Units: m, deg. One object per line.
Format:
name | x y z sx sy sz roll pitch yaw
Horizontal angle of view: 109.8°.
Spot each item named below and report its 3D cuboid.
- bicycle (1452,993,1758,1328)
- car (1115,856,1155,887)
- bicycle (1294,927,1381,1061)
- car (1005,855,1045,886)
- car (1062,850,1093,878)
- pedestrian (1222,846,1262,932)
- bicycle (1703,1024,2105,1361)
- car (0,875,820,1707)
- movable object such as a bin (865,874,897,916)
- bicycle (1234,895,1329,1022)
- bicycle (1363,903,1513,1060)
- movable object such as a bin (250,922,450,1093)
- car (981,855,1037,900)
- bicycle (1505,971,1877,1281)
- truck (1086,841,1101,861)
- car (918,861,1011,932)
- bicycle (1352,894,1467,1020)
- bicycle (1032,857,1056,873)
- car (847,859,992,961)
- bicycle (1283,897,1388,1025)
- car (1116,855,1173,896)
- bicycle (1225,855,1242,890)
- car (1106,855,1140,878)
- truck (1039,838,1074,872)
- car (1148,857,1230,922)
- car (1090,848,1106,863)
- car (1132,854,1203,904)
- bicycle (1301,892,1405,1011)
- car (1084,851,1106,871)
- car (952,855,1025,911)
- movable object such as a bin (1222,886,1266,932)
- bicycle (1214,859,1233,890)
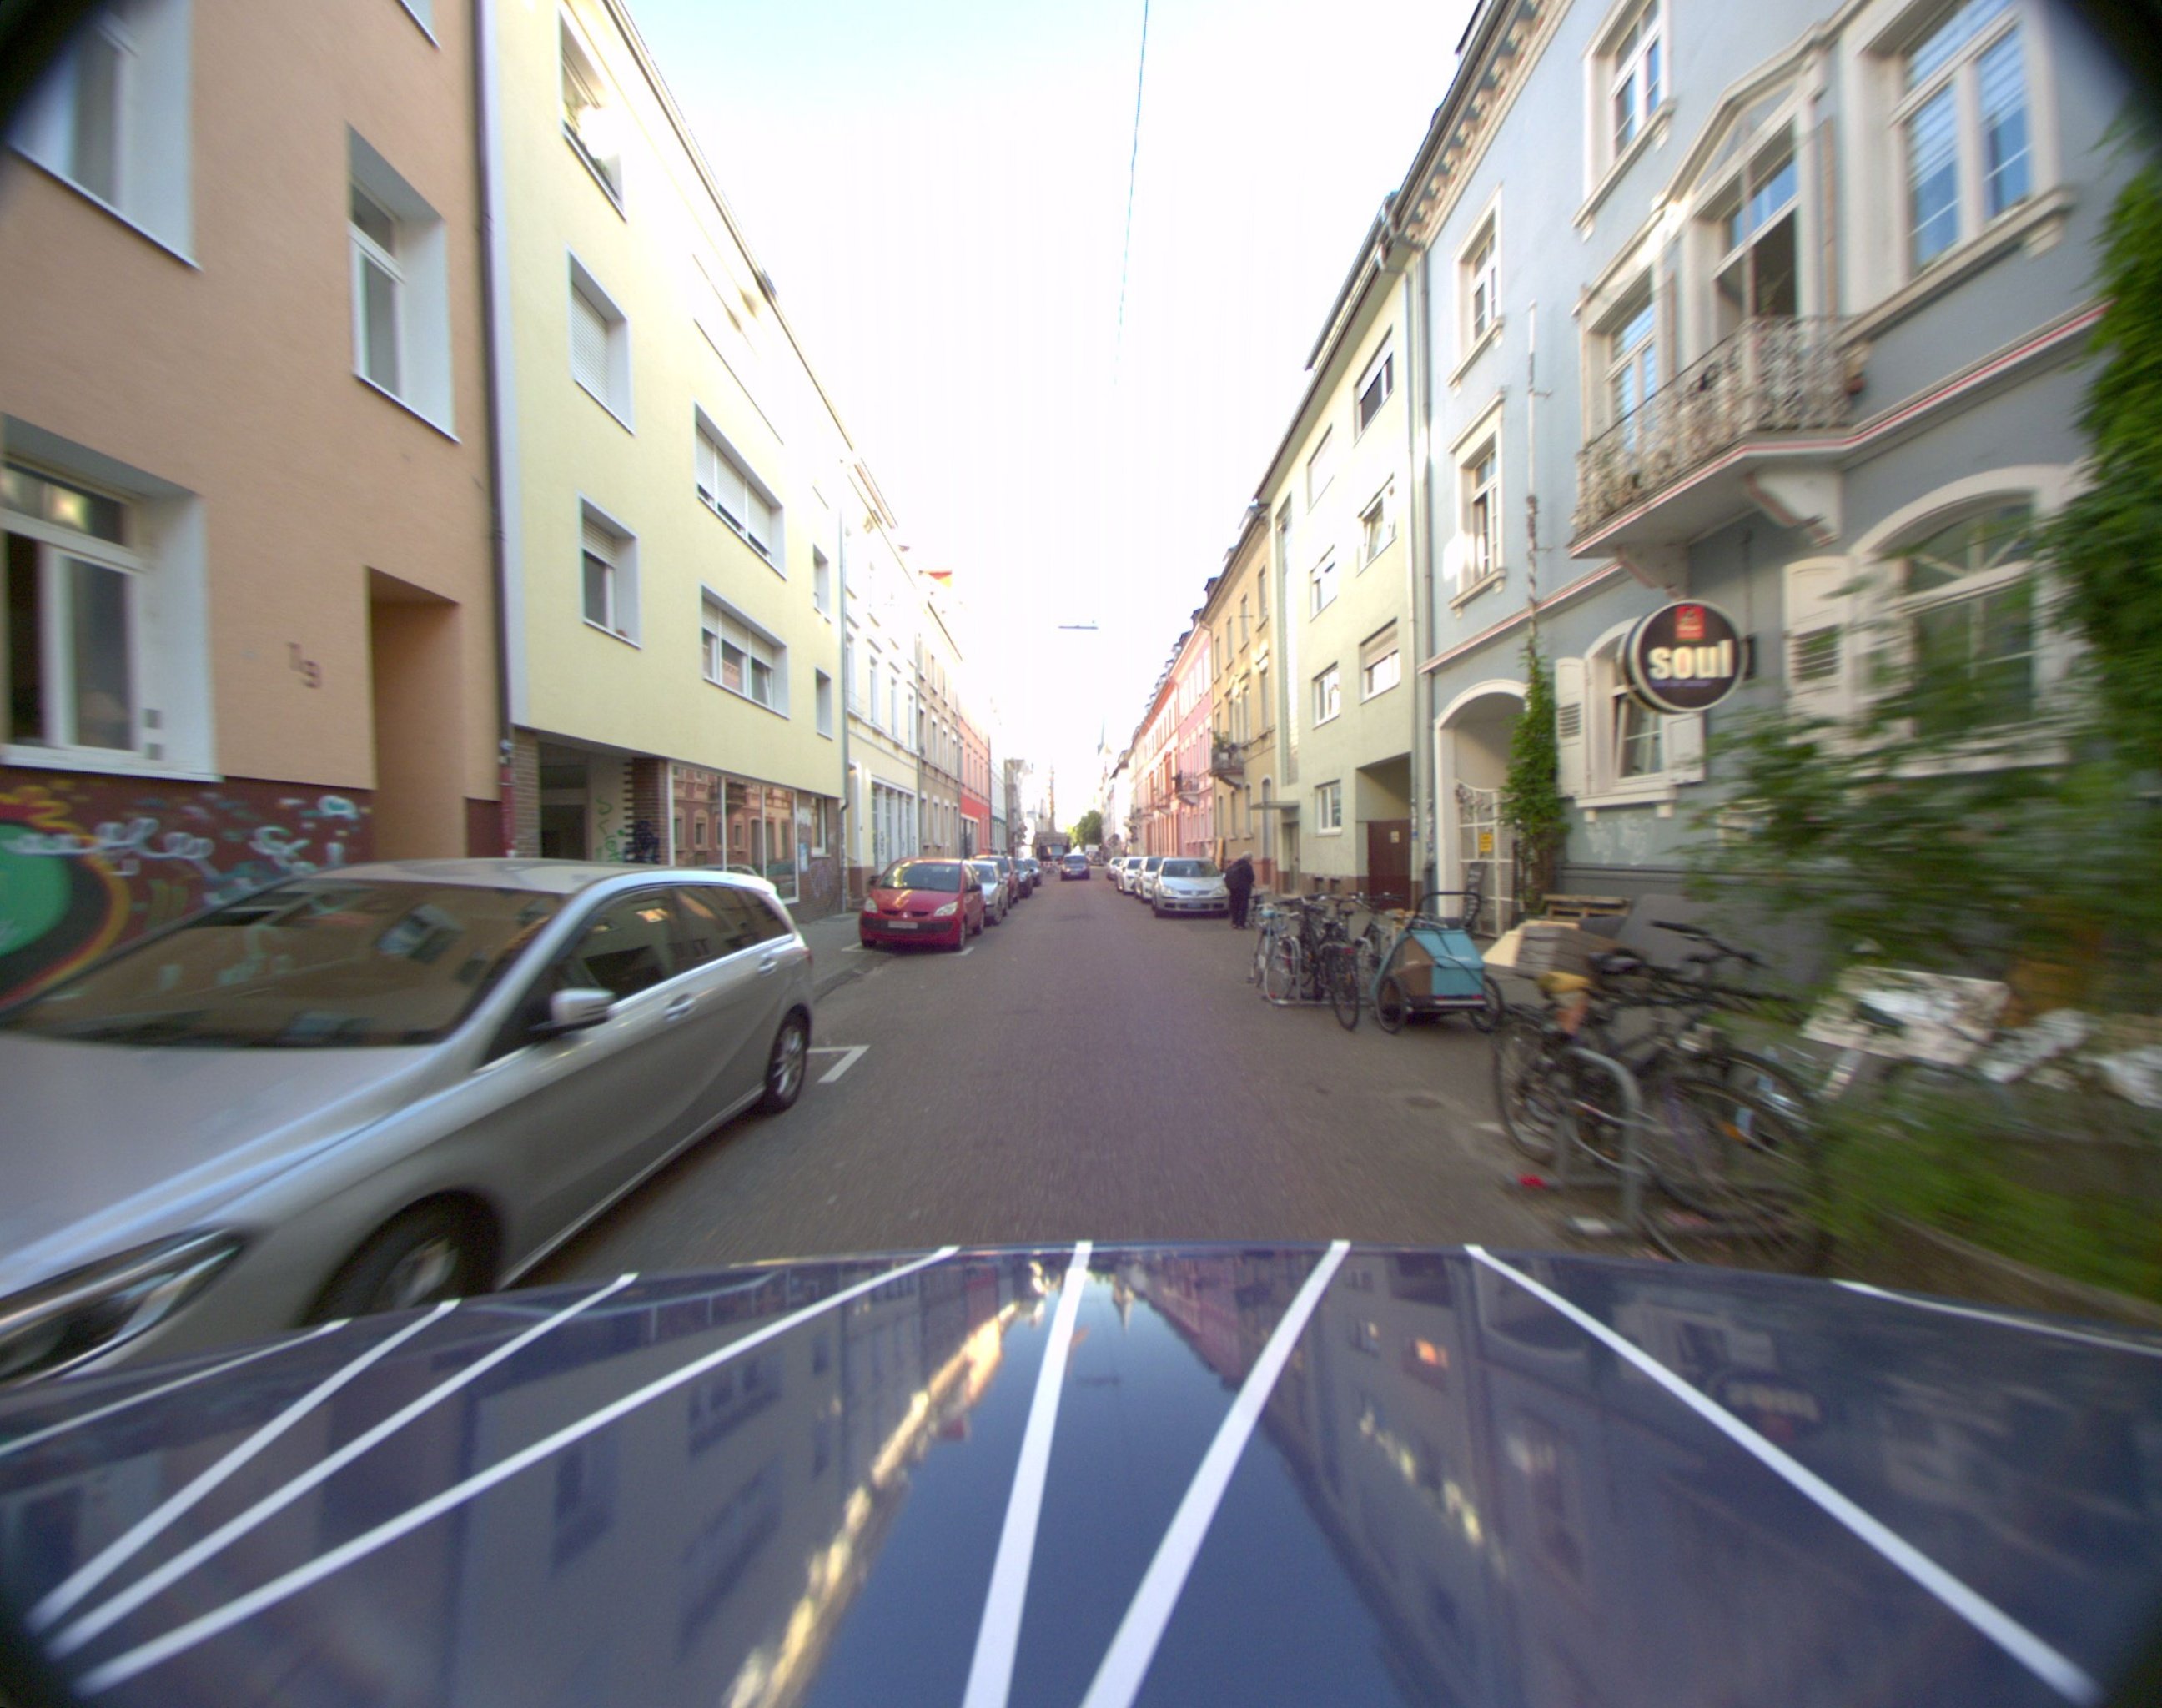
bicycle | 2.168 1.197 3.344 0.391 0.911 1.393 -1 0 0
car | 2.532 0.806 36.637 1.731 1.383 4.302 1 0 1
bicycle | 2.191 1.158 6.589 0.322 0.911 1.290 -1 0 0
car | -2.852 0.805 39.544 1.831 1.474 4.464 0 0 -1
car | -0.208 0.574 47.112 1.832 1.650 4.213 0 0 0
pedestrian | 3.265 0.695 15.372 0.714 1.698 0.672 -2 1 13
bicycle | 3.240 1.260 3.147 0.256 0.813 1.299 -1 0 0
car | -2.705 0.937 3.124 1.750 1.547 4.171 -1 0 1
movable object such as a bin | -5.454 1.110 20.752 0.665 1.092 0.557 -2 1 1
bicycle | 2.102 1.049 8.184 0.500 1.099 1.829 -2 0 -1
bicycle | 3.011 1.041 6.499 0.815 1.168 0.920 -1 1 -3
movable object such as a bin | -5.159 1.050 5.410 0.694 1.052 0.736 2 1 0
car | -2.699 0.848 29.310 1.766 1.513 4.379 -2 0 -1
bicycle | 2.775 1.165 3.696 0.555 0.938 1.571 -1 0 0
truck | 2.139 -0.526 130.714 2.524 3.271 6.642 -1 0 0
car | -2.666 0.926 18.269 1.693 1.444 4.192 1 0 -2
bicycle | 3.441 1.032 8.109 0.444 1.099 1.697 -2 0 -1
bicycle | -2.844 0.852 58.180 1.713 1.130 0.470 -3 1 -12
car | -2.722 0.878 13.691 1.701 1.514 3.980 1 0 1
bicycle | 2.692 1.076 8.223 0.444 1.099 1.931 -2 0 -1
car | 2.396 0.776 29.701 1.792 1.454 4.199 0 0 -1
bicycle | 5.720 0.666 28.550 0.319 1.253 1.494 -2 1 -1
car | 2.566 0.746 47.011 1.771 1.335 4.379 1 0 -1
truck | -2.140 0.074 68.488 2.819 2.735 7.677 -3 0 -1
car | 2.618 0.810 19.196 1.684 1.446 4.034 0 0 3
car | 2.291 0.197 102.077 1.998 2.002 4.258 0 0 0
car | 2.724 0.745 24.693 1.794 1.443 3.999 -1 0 -1
bicycle | 3.040 1.042 8.664 0.444 1.099 1.873 -2 0 -2
car | 1.062 0.548 60.337 1.644 1.528 3.842 -1 0 -1
car | -2.802 0.835 23.785 1.794 1.542 3.999 -1 0 0
movable object such as a bin | 3.394 1.133 15.862 0.846 0.892 0.586 -2 1 10
bicycle | 5.334 0.754 28.491 0.418 1.095 1.494 -2 1 -1
